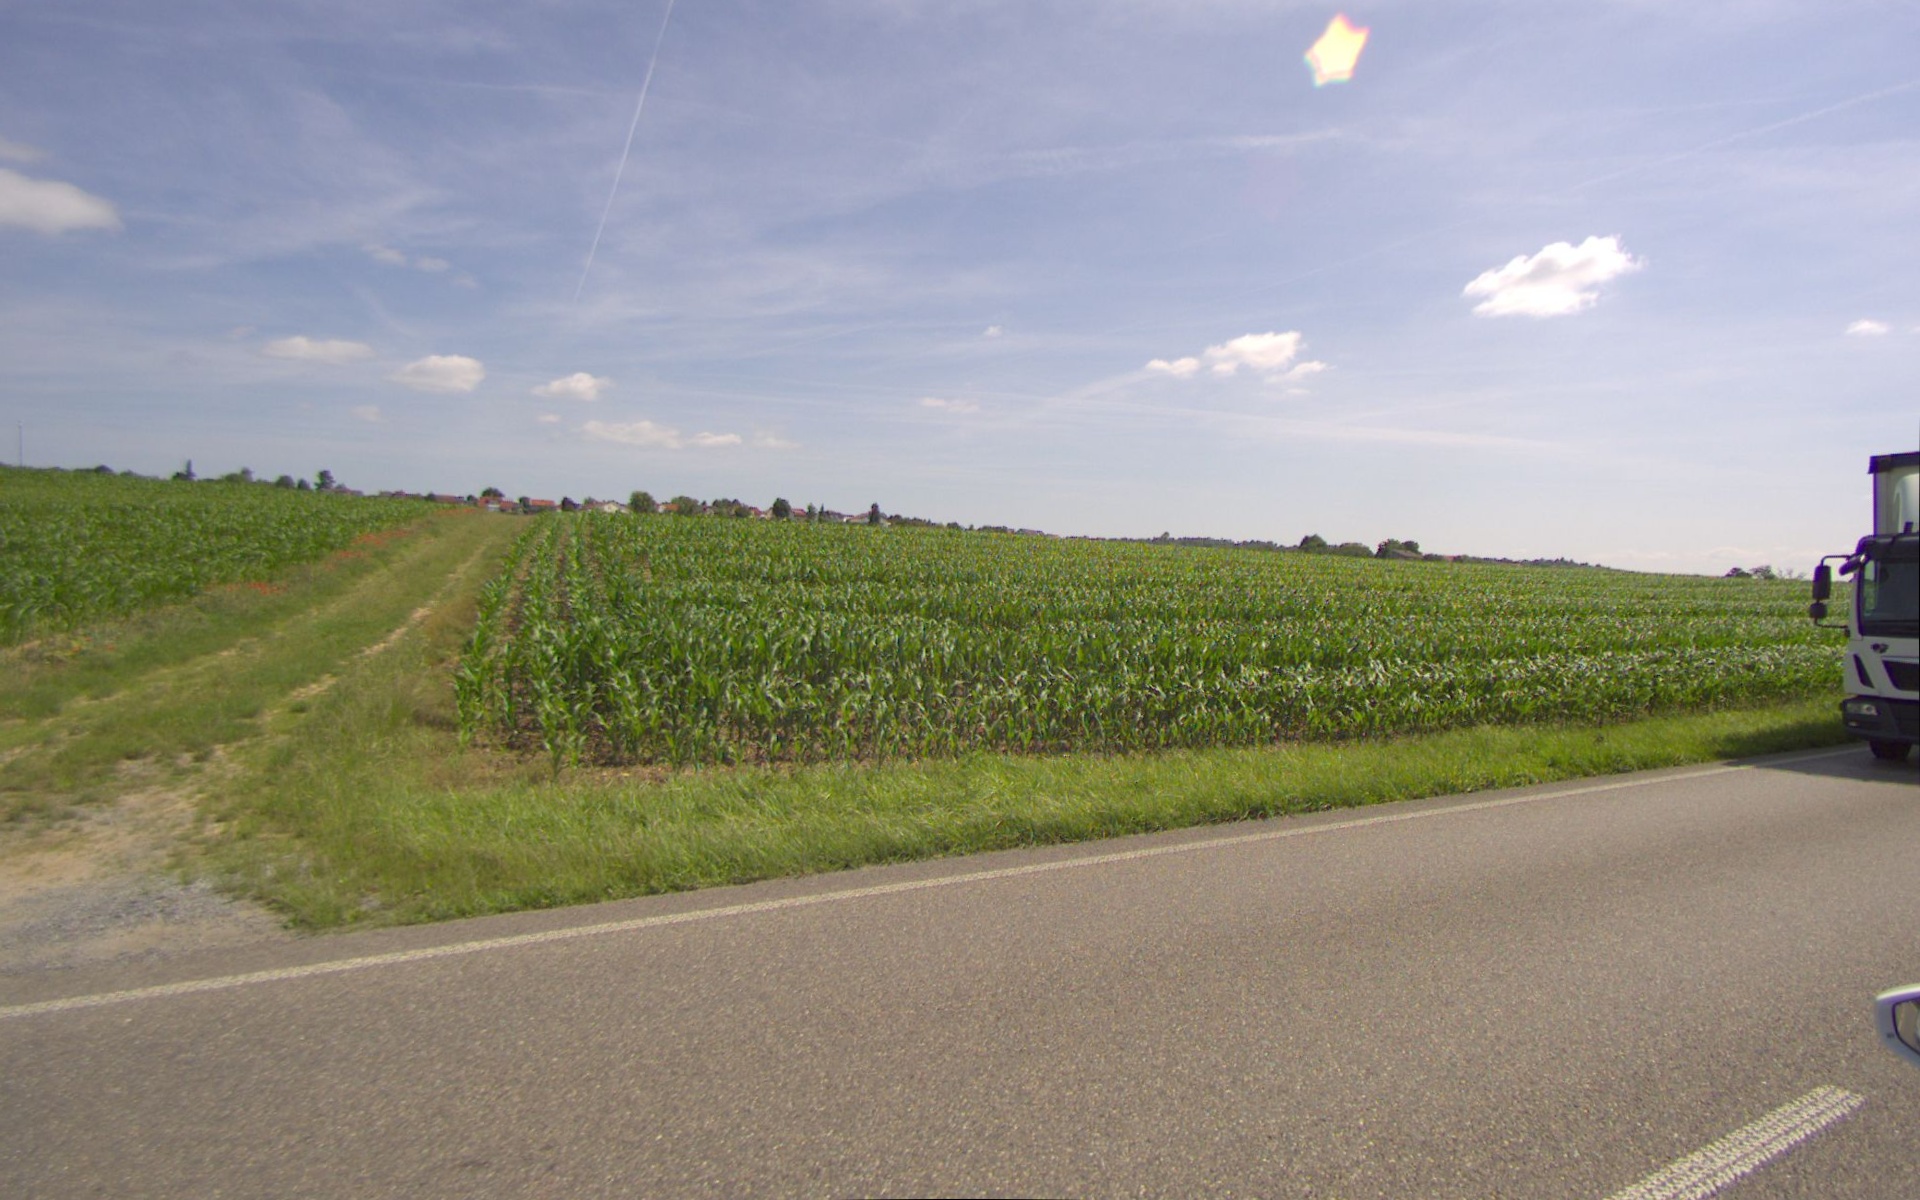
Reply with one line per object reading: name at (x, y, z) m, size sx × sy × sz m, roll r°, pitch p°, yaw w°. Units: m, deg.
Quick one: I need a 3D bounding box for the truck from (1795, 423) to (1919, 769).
truck at (14.284, 0.054, 12.878) m, size 9.620 × 3.626 × 2.726 m, roll 1°, pitch -1°, yaw -33°
